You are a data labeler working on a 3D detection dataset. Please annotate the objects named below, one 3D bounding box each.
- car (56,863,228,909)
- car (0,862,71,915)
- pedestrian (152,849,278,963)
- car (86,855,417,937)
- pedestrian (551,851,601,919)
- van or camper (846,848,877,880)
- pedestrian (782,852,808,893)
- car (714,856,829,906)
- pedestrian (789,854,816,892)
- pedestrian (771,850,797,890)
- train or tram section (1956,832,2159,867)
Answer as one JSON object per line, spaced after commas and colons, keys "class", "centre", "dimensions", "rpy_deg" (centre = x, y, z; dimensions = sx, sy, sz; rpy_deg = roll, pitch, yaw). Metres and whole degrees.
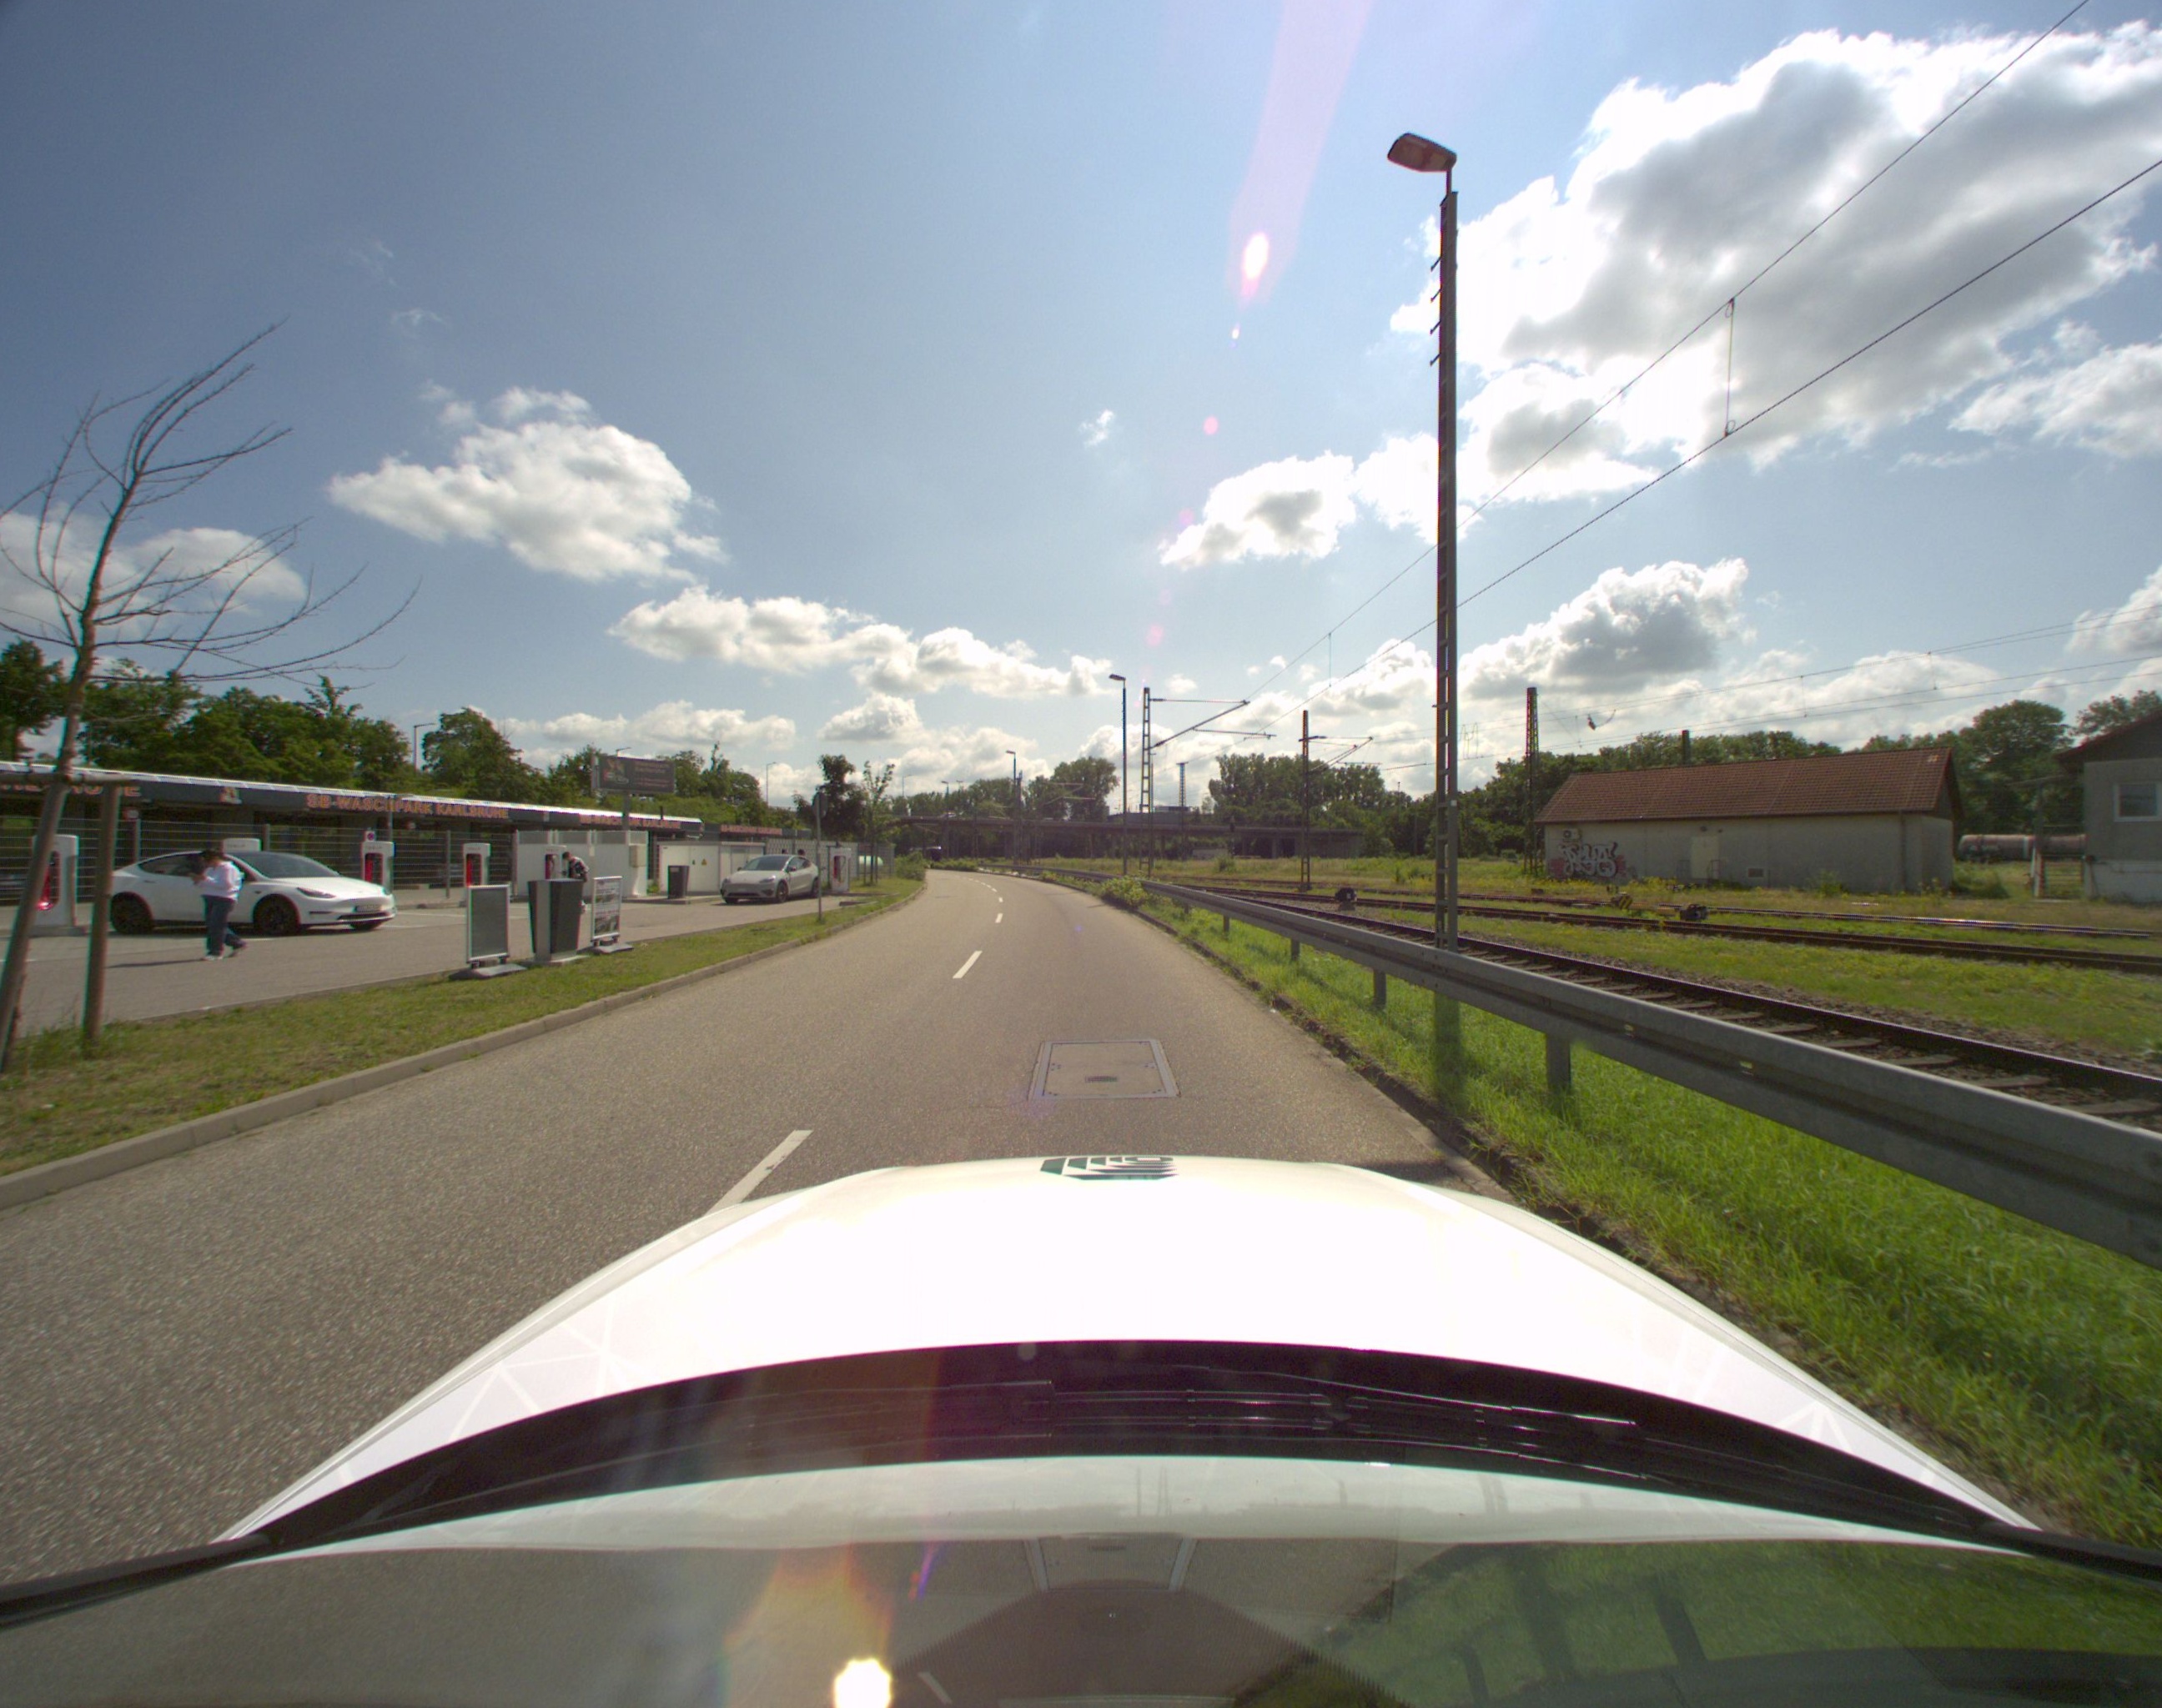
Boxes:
{"class": "car", "centre": [-33.634, 1.125, 29.238], "dimensions": [3.969, 1.562, 2.002], "rpy_deg": [-1, -1, 3]}
{"class": "car", "centre": [-33.634, 1.049, 24.573], "dimensions": [3.969, 1.562, 2.002], "rpy_deg": [-1, -1, 3]}
{"class": "pedestrian", "centre": [-13.000, 0.757, 12.264], "dimensions": [0.859, 1.653, 0.941], "rpy_deg": [0, -1, 1]}
{"class": "car", "centre": [-16.393, 0.804, 16.287], "dimensions": [4.534, 1.524, 2.000], "rpy_deg": [0, -1, 1]}
{"class": "pedestrian", "centre": [-13.414, 0.816, 21.641], "dimensions": [0.860, 1.752, 0.726], "rpy_deg": [0, -1, -4]}
{"class": "van or camper", "centre": [-18.242, 0.812, 67.586], "dimensions": [2.194, 2.514, 5.669], "rpy_deg": [-3, 0, -17]}
{"class": "pedestrian", "centre": [-11.370, 0.731, 32.359], "dimensions": [0.704, 1.579, 0.726], "rpy_deg": [-2, -2, 44]}
{"class": "car", "centre": [-10.732, 0.881, 28.694], "dimensions": [1.922, 1.517, 4.781], "rpy_deg": [0, 1, 4]}
{"class": "pedestrian", "centre": [-11.471, 0.764, 33.546], "dimensions": [0.734, 1.542, 0.817], "rpy_deg": [-1, -1, 6]}
{"class": "pedestrian", "centre": [-12.003, 0.640, 32.875], "dimensions": [0.749, 1.565, 0.718], "rpy_deg": [-2, -2, 43]}
{"class": "train or tram section", "centre": [104.664, -0.358, 87.773], "dimensions": [3.048, 3.305, 13.782], "rpy_deg": [0, -1, -37]}
